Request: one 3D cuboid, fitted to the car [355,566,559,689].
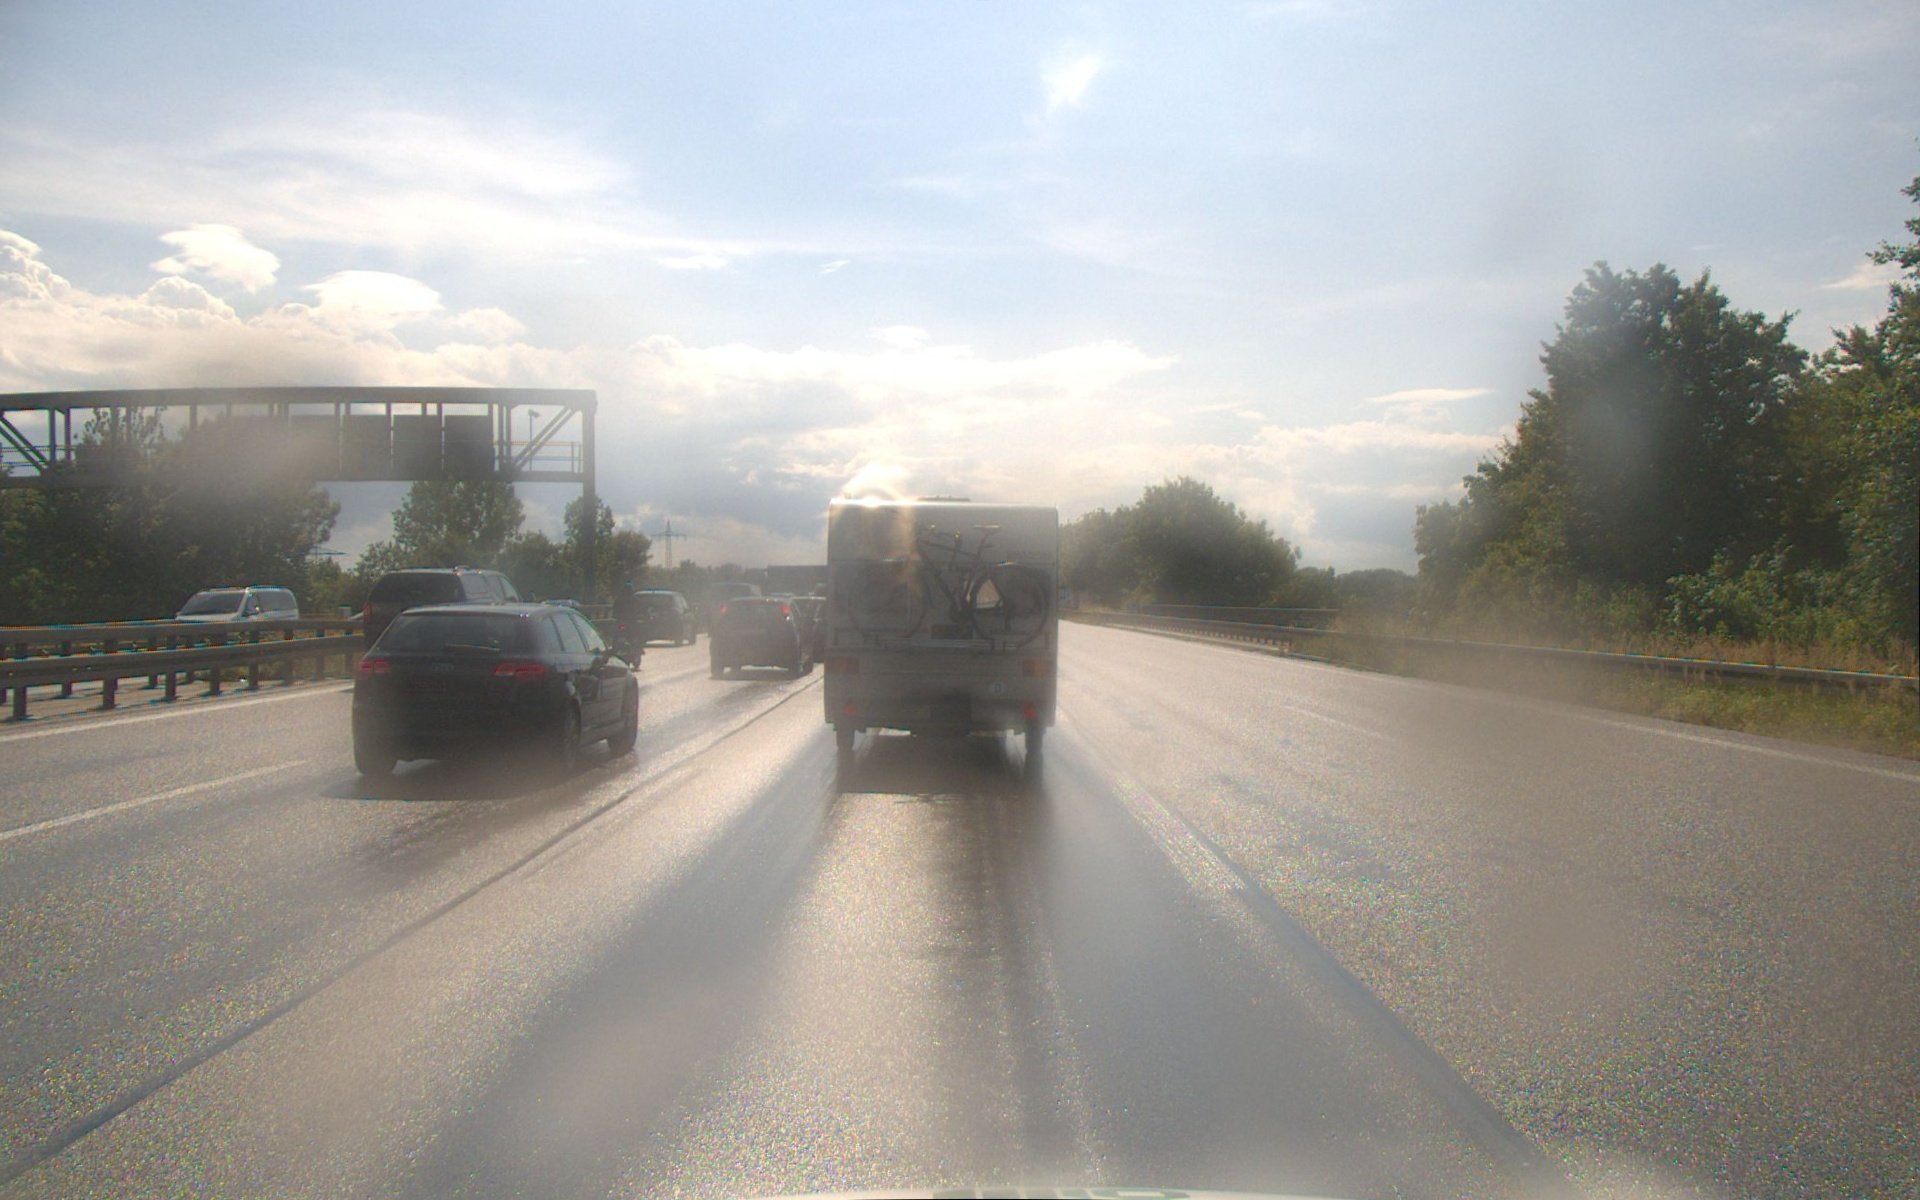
[{"bbox_3d":[-8.429,0.417,28.249,1.769,1.876,5.418,0,0,1],"label":"car"}]

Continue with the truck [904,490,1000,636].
[{"bbox_3d":[-0.356,-1.189,58.642,3.082,4.707,10.733,0,0,-1],"label":"truck"}]

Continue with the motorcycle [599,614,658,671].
[{"bbox_3d":[-6.533,0.823,32.700,0.676,1.045,2.388,0,0,0],"label":"motorcycle"}]

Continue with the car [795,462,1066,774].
[{"bbox_3d":[-0.243,0.162,16.609,2.361,2.721,4.000,1,0,0],"label":"car"}]

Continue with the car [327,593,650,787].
[{"bbox_3d":[-3.954,0.676,14.580,1.714,1.458,4.053,0,0,-1],"label":"car"}]

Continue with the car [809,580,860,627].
[{"bbox_3d":[-4.685,0.137,62.135,1.654,1.691,3.640,0,0,-1],"label":"car"}]

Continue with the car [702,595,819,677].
[{"bbox_3d":[-3.796,0.649,32.055,1.722,1.468,4.000,0,0,0],"label":"car"}]

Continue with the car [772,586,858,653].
[{"bbox_3d":[-3.476,0.448,40.231,1.825,1.534,3.999,0,0,-1],"label":"car"}]

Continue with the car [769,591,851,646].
[{"bbox_3d":[-4.225,0.495,47.180,1.946,1.483,3.826,0,0,0],"label":"car"}]

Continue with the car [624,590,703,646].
[{"bbox_3d":[-8.845,0.505,49.577,1.747,1.606,3.915,0,0,-1],"label":"car"}]

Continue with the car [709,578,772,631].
[{"bbox_3d":[-8.452,0.170,63.992,1.810,1.967,5.015,0,0,-1],"label":"car"}]

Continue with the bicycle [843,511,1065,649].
[{"bbox_3d":[-0.048,-0.168,14.407,1.894,1.161,0.384,1,0,1],"label":"bicycle"}]

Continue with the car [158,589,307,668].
[{"bbox_3d":[-19.872,0.745,45.451,1.953,2.049,4.950,0,0,-1],"label":"car"}]

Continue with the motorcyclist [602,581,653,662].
[{"bbox_3d":[-6.596,0.423,32.828,0.779,1.564,1.093,0,0,-1],"label":"motorcyclist"}]
